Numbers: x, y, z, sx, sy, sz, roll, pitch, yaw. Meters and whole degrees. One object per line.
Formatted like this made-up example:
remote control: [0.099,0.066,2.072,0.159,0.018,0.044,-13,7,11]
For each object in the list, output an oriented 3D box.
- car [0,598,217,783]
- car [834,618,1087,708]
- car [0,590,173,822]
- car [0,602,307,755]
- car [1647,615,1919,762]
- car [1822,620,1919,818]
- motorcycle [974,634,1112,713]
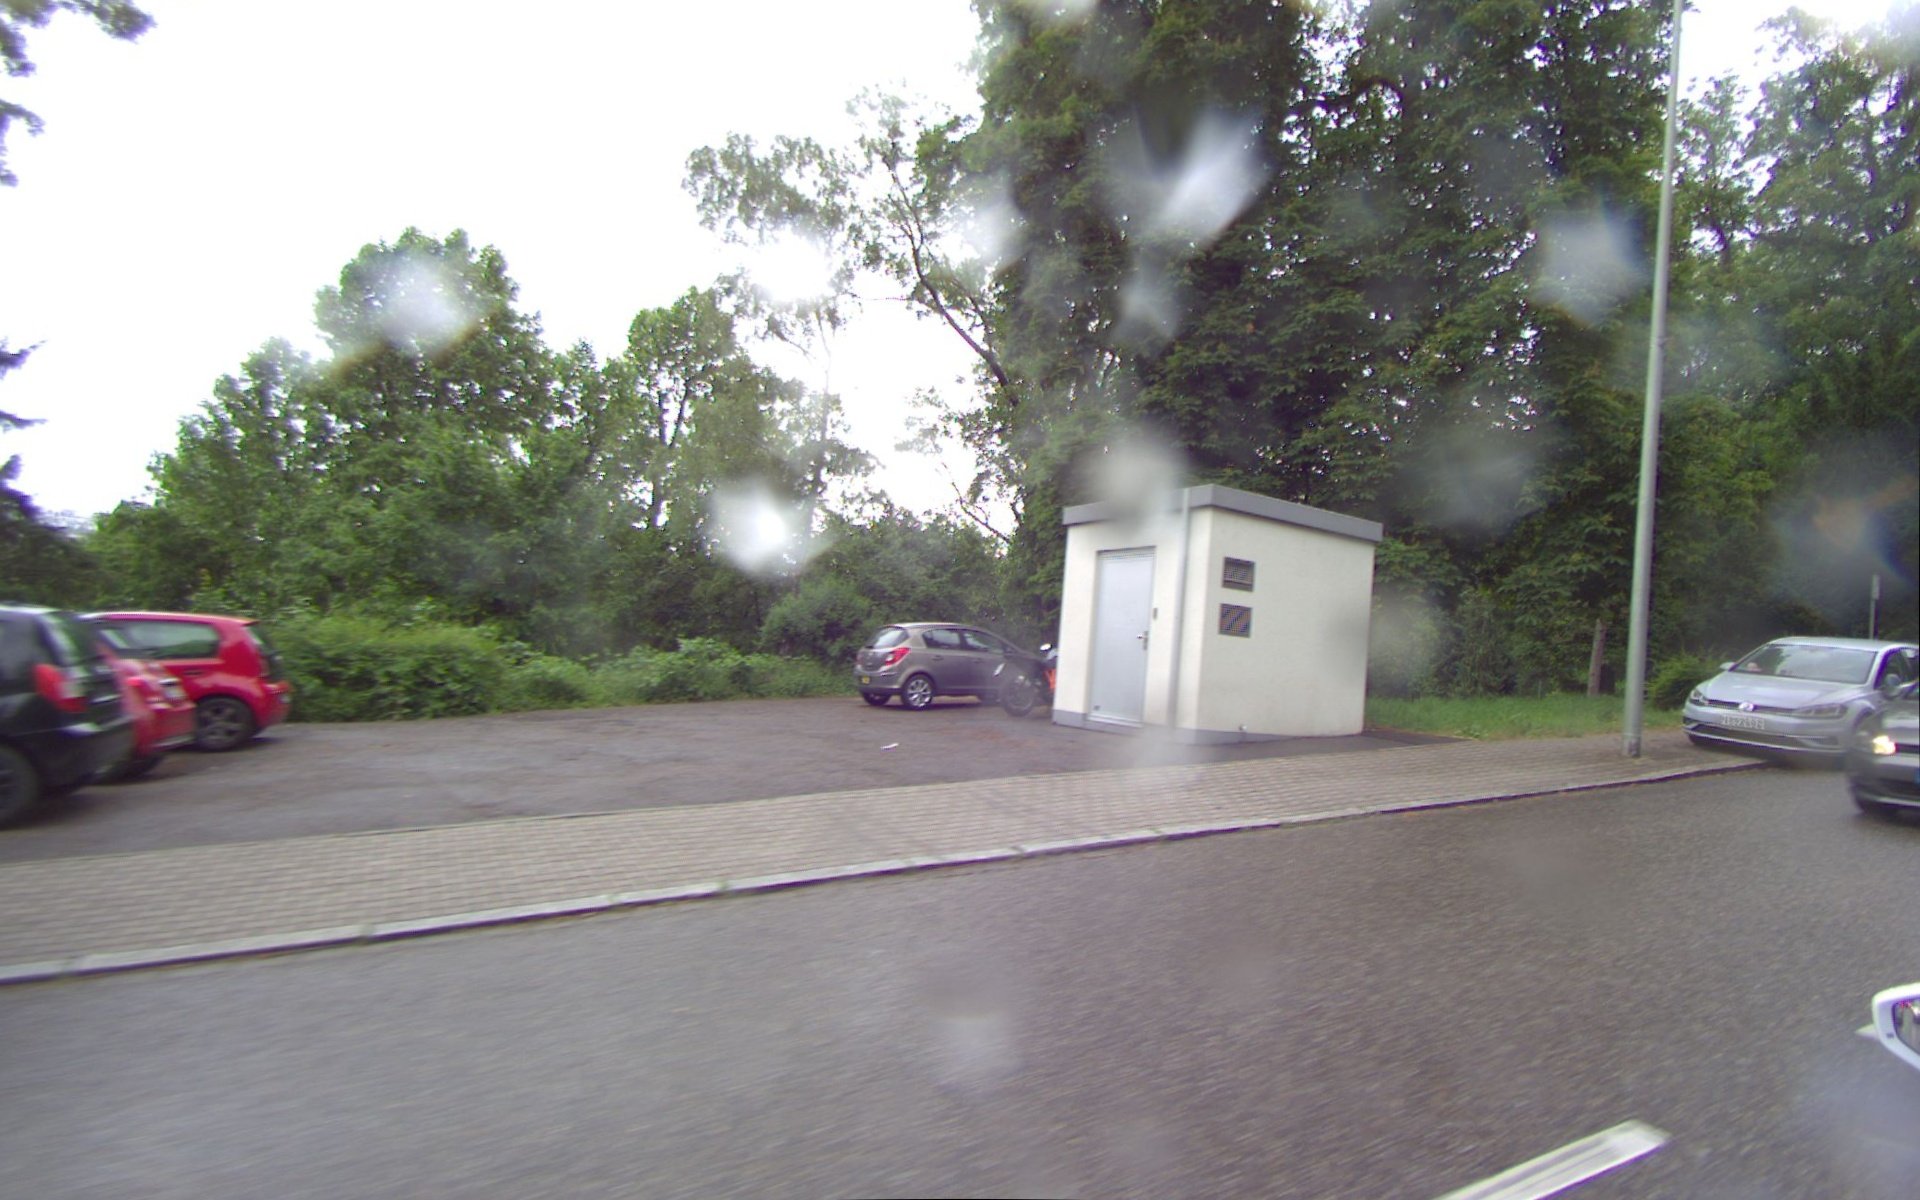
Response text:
car: [-8.658,0.721,8.373,3.728,1.478,1.614,1,-1,-29]
car: [0.057,1.098,18.582,4.348,1.478,1.934,1,-1,-32]
car: [-7.942,0.664,6.404,4.343,1.478,1.715,1,-1,-29]
car: [-9.429,0.774,10.532,4.190,1.478,1.589,1,-1,-29]
car: [11.075,1.065,13.032,4.187,1.632,1.879,1,-3,-29]
car: [9.165,0.929,8.415,3.953,1.511,1.753,1,-2,-30]
motorcycle: [1.358,1.153,16.227,2.248,1.204,0.598,1,-1,-26]
